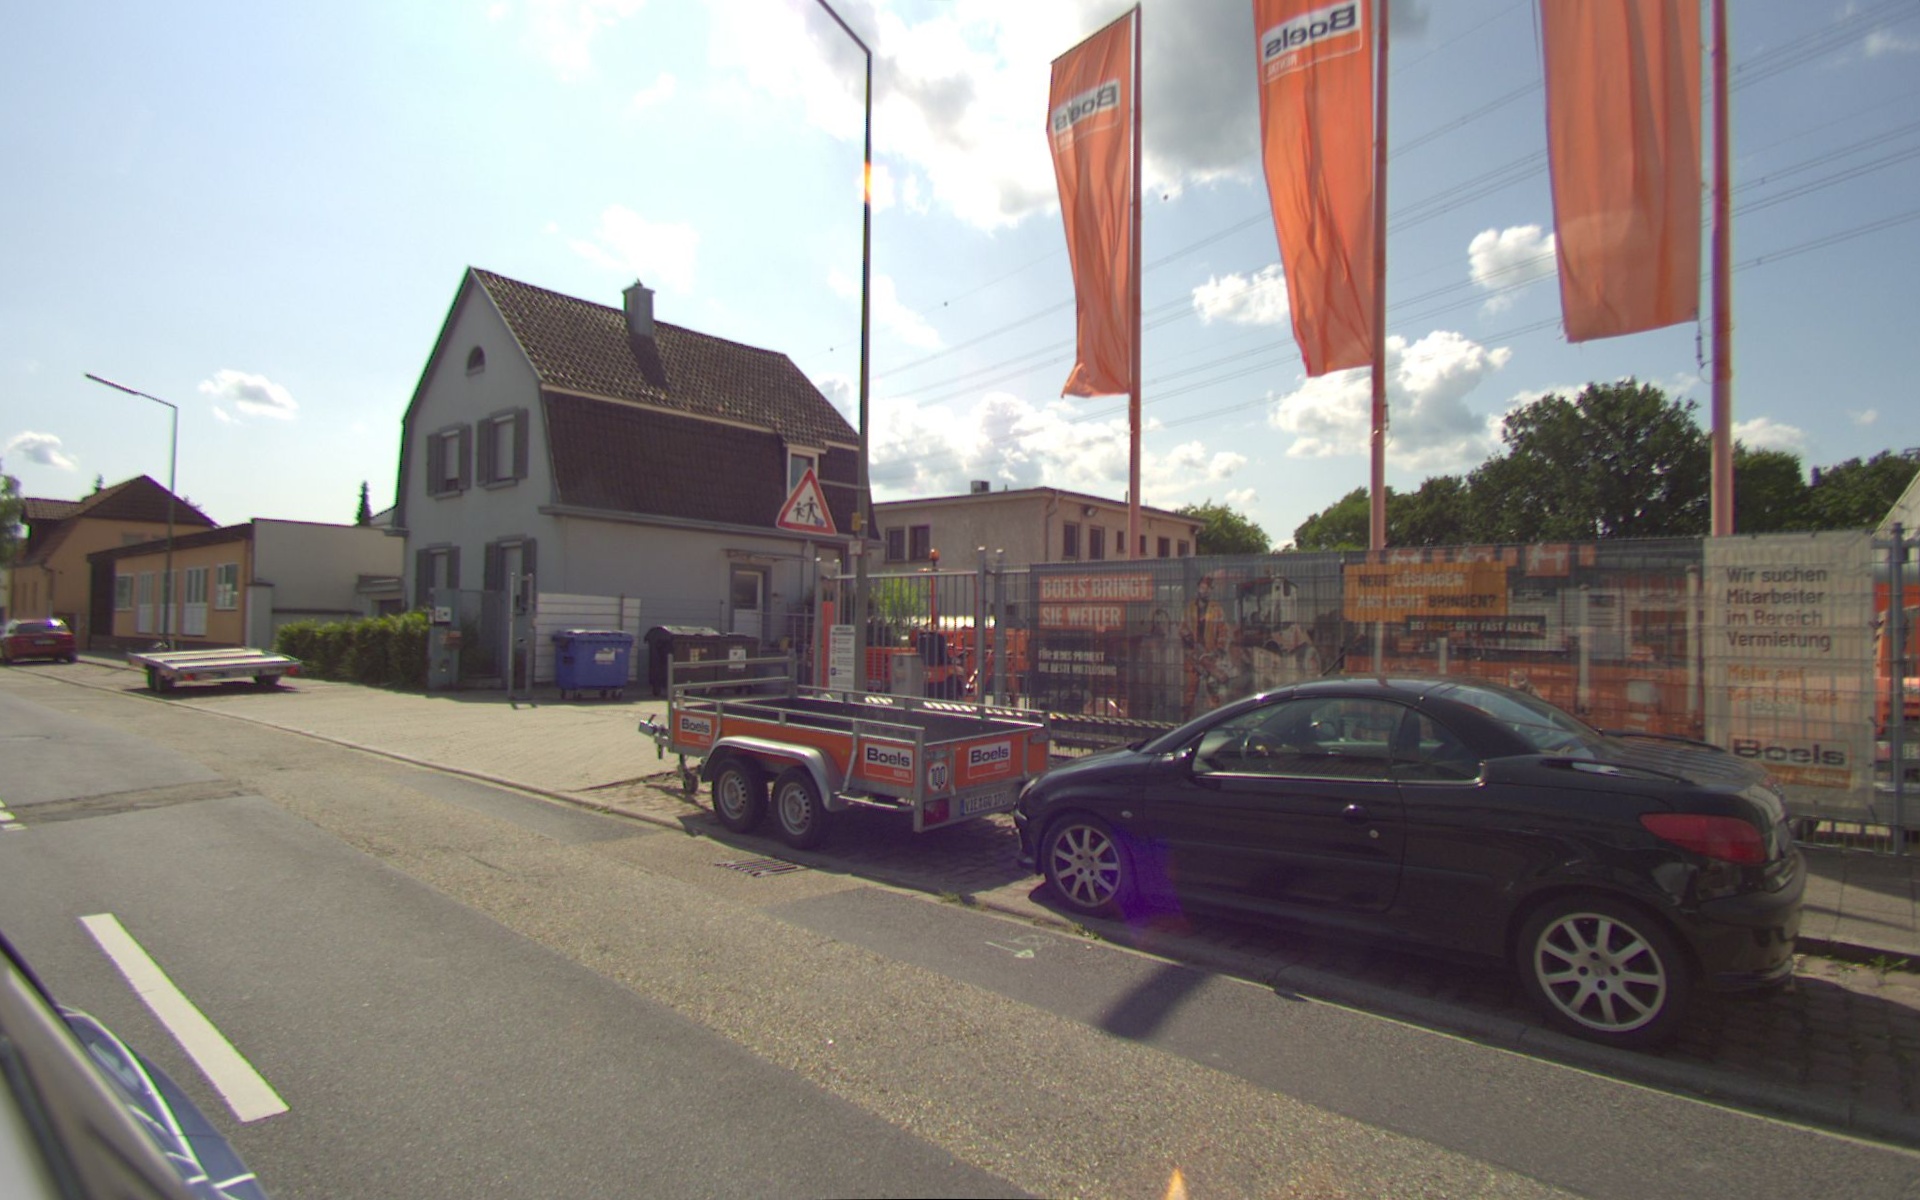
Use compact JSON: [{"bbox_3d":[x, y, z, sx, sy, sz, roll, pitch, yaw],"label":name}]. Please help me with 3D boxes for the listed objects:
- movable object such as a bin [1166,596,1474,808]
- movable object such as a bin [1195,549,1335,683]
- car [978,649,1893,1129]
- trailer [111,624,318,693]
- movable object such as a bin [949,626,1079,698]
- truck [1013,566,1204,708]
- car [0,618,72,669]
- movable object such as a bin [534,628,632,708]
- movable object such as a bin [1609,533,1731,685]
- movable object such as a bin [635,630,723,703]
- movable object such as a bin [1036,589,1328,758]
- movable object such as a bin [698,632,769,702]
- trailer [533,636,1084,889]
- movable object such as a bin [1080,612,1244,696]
[{"bbox_3d":[5.119,1.018,13.314,1.901,2.020,7.532,-1,-1,35],"label":"movable object such as a bin"},{"bbox_3d":[9.399,0.525,31.009,2.914,3.764,3.949,0,-2,38],"label":"movable object such as a bin"},{"bbox_3d":[2.101,1.028,5.196,3.882,1.387,1.656,0,0,41],"label":"car"},{"bbox_3d":[-16.136,1.158,21.739,6.051,1.173,2.425,0,0,42],"label":"trailer"},{"bbox_3d":[1.507,1.612,26.942,1.464,1.741,3.948,0,-2,38],"label":"movable object such as a bin"},{"bbox_3d":[3.894,0.928,25.549,2.493,3.167,5.507,0,-2,36],"label":"truck"},{"bbox_3d":[-30.745,1.369,33.322,4.628,1.478,1.692,0,1,42],"label":"car"},{"bbox_3d":[-7.195,1.276,19.353,1.187,1.438,1.303,0,-2,37],"label":"movable object such as a bin"},{"bbox_3d":[38.174,0.657,54.157,4.492,7.216,11.963,0,-2,39],"label":"movable object such as a bin"},{"bbox_3d":[-5.824,1.357,20.977,1.150,1.438,1.303,0,-2,37],"label":"movable object such as a bin"},{"bbox_3d":[3.699,0.921,15.433,1.901,2.020,6.801,-1,-1,35],"label":"movable object such as a bin"},{"bbox_3d":[-4.915,1.433,21.984,1.003,1.454,1.075,0,-2,40],"label":"movable object such as a bin"},{"bbox_3d":[-1.549,1.074,8.501,5.049,1.387,1.749,0,0,41],"label":"trailer"},{"bbox_3d":[6.744,1.732,33.690,4.042,2.556,3.949,0,-2,38],"label":"movable object such as a bin"}]
